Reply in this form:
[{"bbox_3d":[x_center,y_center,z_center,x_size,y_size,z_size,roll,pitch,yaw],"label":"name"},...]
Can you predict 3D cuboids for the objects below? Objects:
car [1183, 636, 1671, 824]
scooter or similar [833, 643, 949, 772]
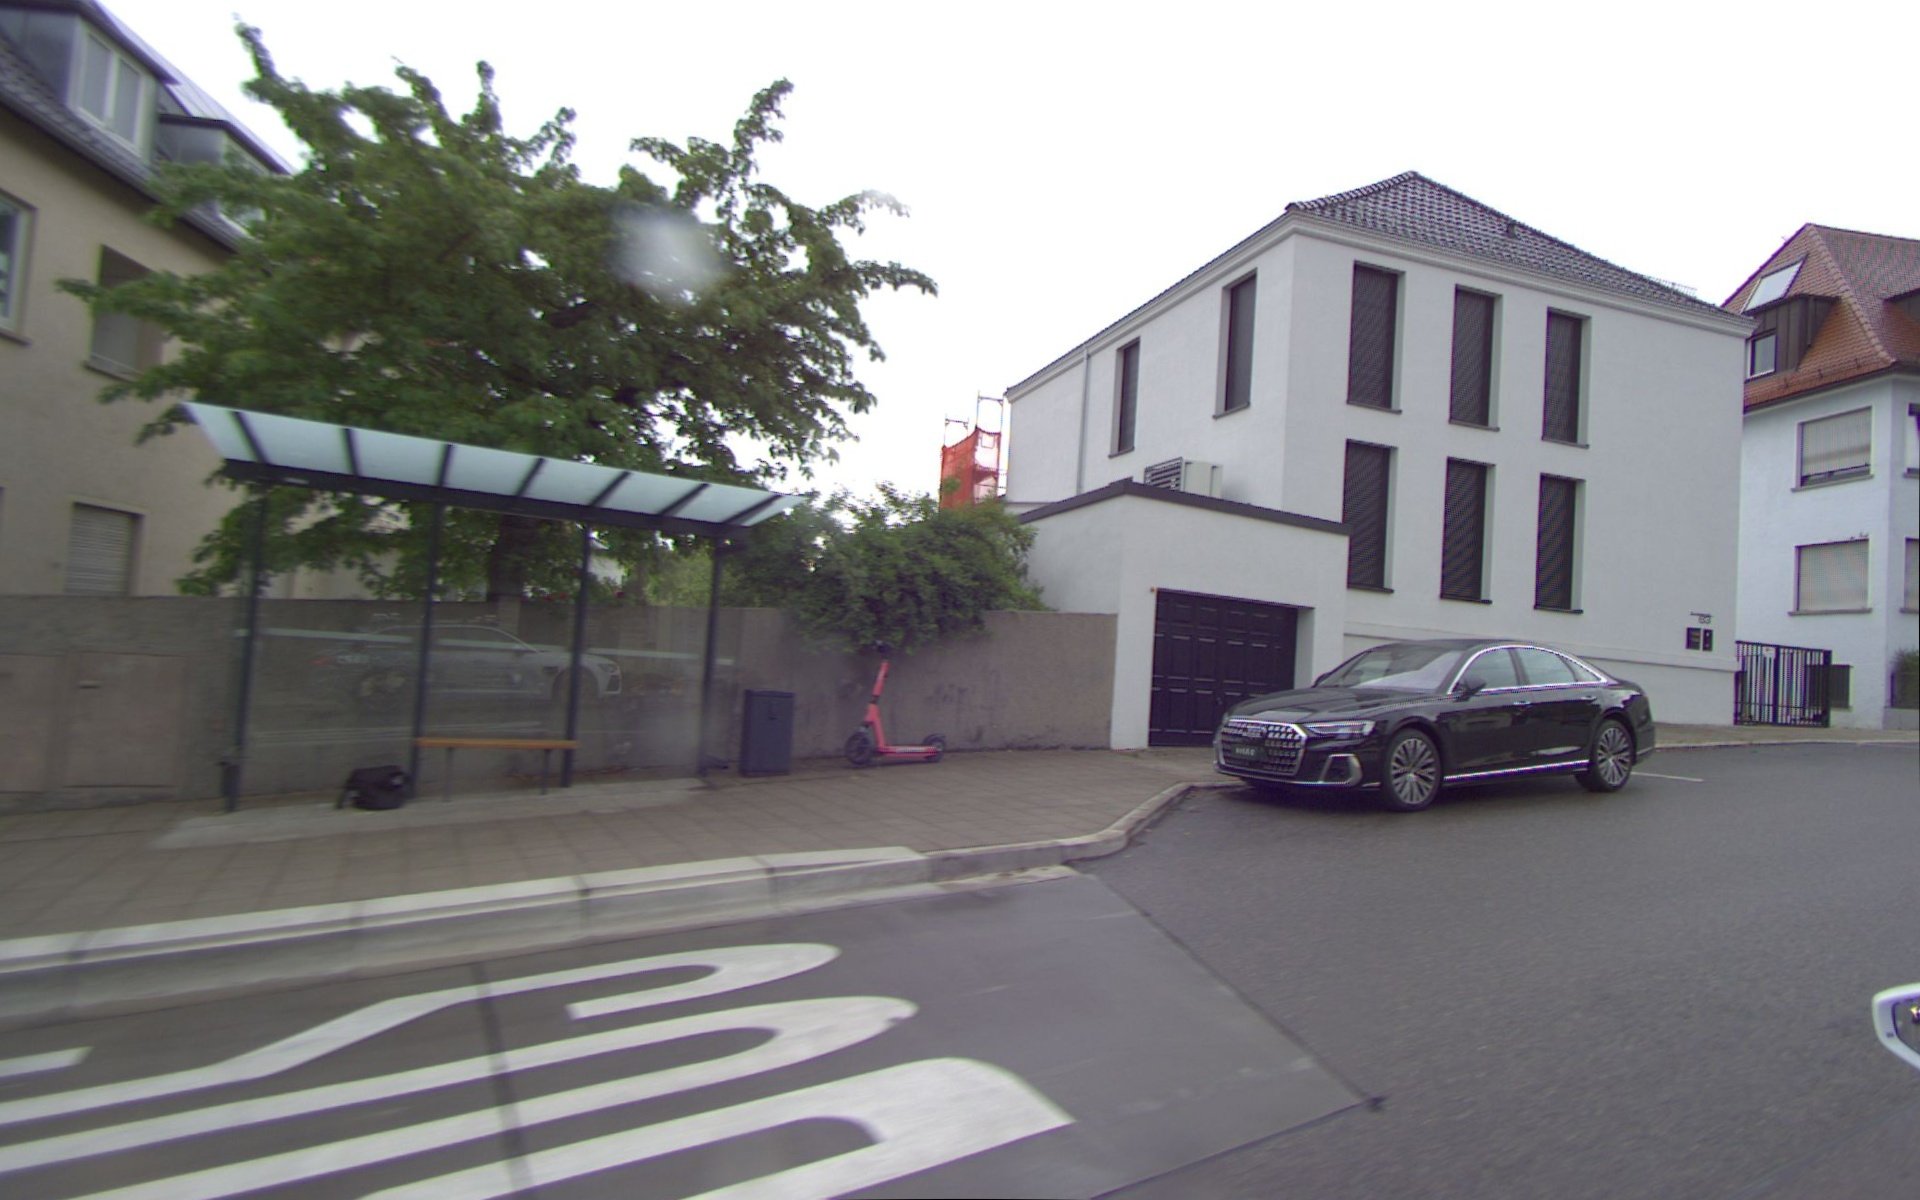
[{"bbox_3d":[4.742,1.128,10.041,4.928,1.505,1.822,1,-2,-28],"label":"car"},{"bbox_3d":[-0.687,1.070,10.146,1.109,1.236,0.336,2,-1,-29],"label":"scooter or similar"}]
